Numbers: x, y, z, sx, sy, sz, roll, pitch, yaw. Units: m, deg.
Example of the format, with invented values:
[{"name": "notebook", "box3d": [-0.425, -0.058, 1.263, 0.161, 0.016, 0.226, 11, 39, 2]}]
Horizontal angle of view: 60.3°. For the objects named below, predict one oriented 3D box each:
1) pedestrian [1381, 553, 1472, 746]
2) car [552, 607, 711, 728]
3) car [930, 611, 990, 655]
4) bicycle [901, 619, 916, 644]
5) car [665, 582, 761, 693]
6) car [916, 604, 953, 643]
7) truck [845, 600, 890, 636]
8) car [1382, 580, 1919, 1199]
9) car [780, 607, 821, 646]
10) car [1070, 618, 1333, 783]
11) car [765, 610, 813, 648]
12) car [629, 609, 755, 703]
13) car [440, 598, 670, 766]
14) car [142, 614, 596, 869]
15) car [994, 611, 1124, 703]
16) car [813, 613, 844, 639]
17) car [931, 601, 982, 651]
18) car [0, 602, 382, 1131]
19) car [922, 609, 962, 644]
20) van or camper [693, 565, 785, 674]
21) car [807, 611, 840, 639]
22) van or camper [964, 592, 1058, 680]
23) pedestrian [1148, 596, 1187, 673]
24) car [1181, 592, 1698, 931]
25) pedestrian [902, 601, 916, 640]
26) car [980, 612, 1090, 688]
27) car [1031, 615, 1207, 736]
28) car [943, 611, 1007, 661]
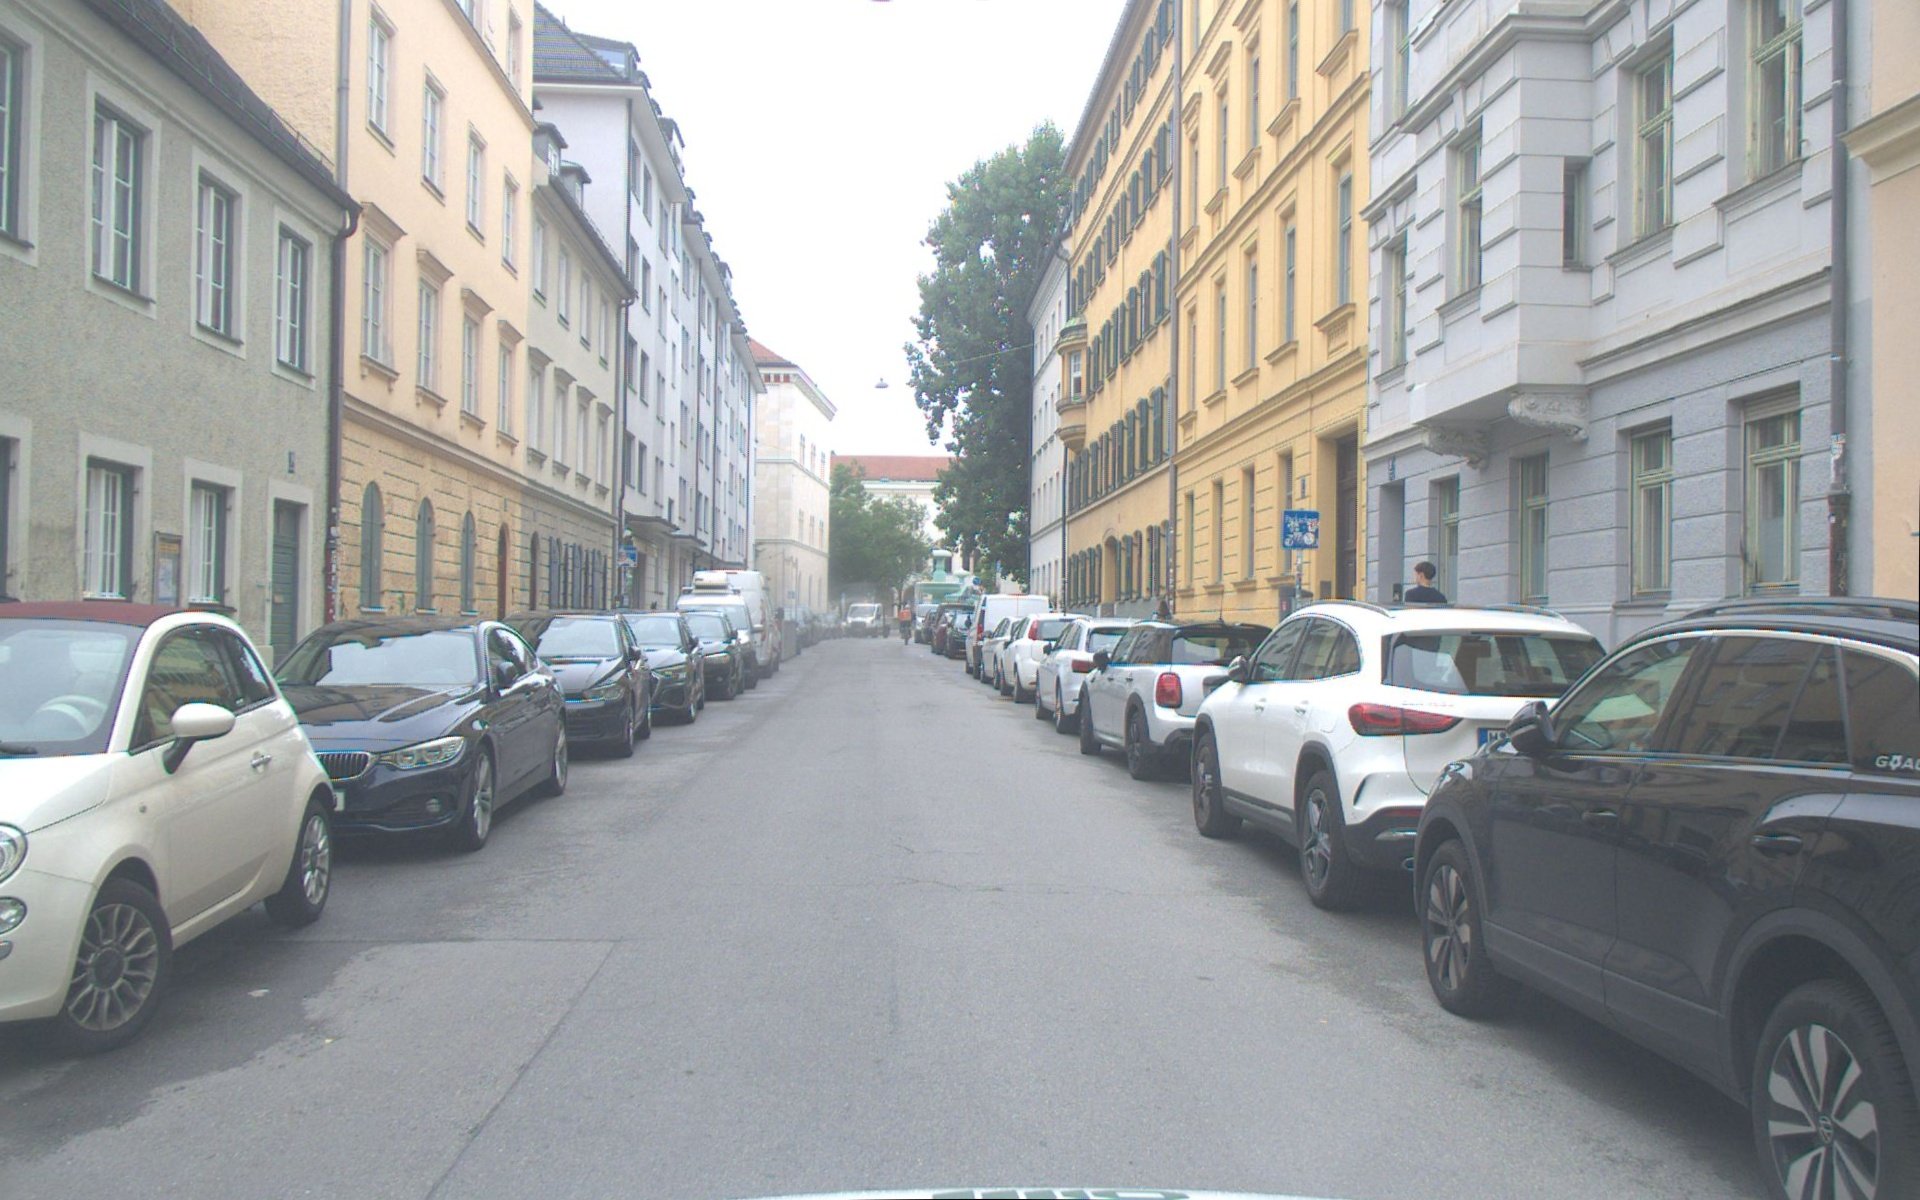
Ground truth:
[{"name": "pedestrian", "box3d": [5.034, 0.536, 17.892, 0.656, 2.015, 0.708, -3, -2, -3]}, {"name": "car", "box3d": [-4.367, 0.839, 22.504, 1.781, 1.467, 4.125, 0, 0, -7]}, {"name": "car", "box3d": [-0.036, 1.159, 58.493, 1.776, 1.449, 4.242, 2, -1, -4]}, {"name": "bicycle", "box3d": [-2.313, 1.423, 74.834, 0.662, 1.114, 1.759, 0, -2, -2]}, {"name": "car", "box3d": [-4.837, 0.724, 32.853, 1.721, 2.030, 4.618, 1, -1, -7]}, {"name": "car", "box3d": [-1.339, 1.205, 85.238, 1.814, 1.953, 4.766, 0, -1, -2]}, {"name": "truck", "box3d": [-6.007, 1.214, 107.978, 2.076, 2.287, 6.188, 0, -1, 5]}, {"name": "car", "box3d": [2.804, 0.762, 5.138, 1.719, 1.548, 4.272, 1, -1, -3]}, {"name": "car", "box3d": [-6.945, 1.159, 72.289, 1.673, 1.638, 3.860, 0, -1, -4]}, {"name": "car", "box3d": [2.269, 0.905, 16.611, 1.675, 1.429, 4.202, 1, -1, -5]}, {"name": "car", "box3d": [-6.845, 1.154, 66.560, 1.782, 1.470, 3.815, 0, -1, -4]}, {"name": "car", "box3d": [-4.416, 0.893, 27.778, 1.720, 1.433, 4.099, 1, -1, -4]}, {"name": "car", "box3d": [-4.079, 0.774, 17.275, 1.720, 1.522, 4.195, 1, -1, -6]}, {"name": "car", "box3d": [-3.821, 0.820, 11.619, 1.763, 1.363, 4.681, 1, 0, -4]}, {"name": "car", "box3d": [1.653, 0.947, 28.845, 1.675, 1.480, 4.092, 1, -1, -5]}, {"name": "car", "box3d": [-8.363, 1.629, 105.685, 1.672, 1.609, 3.862, -1, -1, 0]}, {"name": "car", "box3d": [-0.168, 1.023, 65.496, 1.775, 1.829, 4.244, 2, -1, -2]}, {"name": "car", "box3d": [-3.654, 0.772, 6.538, 1.721, 1.501, 3.709, 1, -1, -6]}, {"name": "car", "box3d": [-0.894, 1.269, 79.379, 1.775, 1.642, 4.153, 0, -1, -2]}, {"name": "van or camper", "box3d": [-5.007, 0.444, 37.997, 1.720, 2.321, 5.269, 1, -1, -4]}, {"name": "car", "box3d": [-8.195, 1.506, 99.467, 1.672, 1.638, 3.862, 0, -1, -1]}, {"name": "van or camper", "box3d": [1.117, 0.819, 38.732, 1.797, 1.904, 5.076, 1, -1, -3]}, {"name": "pedestrian", "box3d": [4.375, 0.733, 34.947, 0.647, 1.599, 0.642, -2, -2, -4]}, {"name": "car", "box3d": [2.617, 0.805, 10.196, 1.708, 1.611, 4.464, 1, -1, -3]}, {"name": "pedestrian", "box3d": [-2.321, 0.922, 74.890, 0.629, 1.744, 0.842, 0, -2, -2]}, {"name": "car", "box3d": [1.441, 0.973, 33.387, 1.675, 1.417, 4.202, 1, -1, -5]}, {"name": "car", "box3d": [2.014, 0.930, 22.200, 1.674, 1.433, 4.811, 1, -1, -3]}, {"name": "car", "box3d": [0.439, 1.156, 53.609, 1.776, 1.490, 4.243, 2, -1, -3]}]
